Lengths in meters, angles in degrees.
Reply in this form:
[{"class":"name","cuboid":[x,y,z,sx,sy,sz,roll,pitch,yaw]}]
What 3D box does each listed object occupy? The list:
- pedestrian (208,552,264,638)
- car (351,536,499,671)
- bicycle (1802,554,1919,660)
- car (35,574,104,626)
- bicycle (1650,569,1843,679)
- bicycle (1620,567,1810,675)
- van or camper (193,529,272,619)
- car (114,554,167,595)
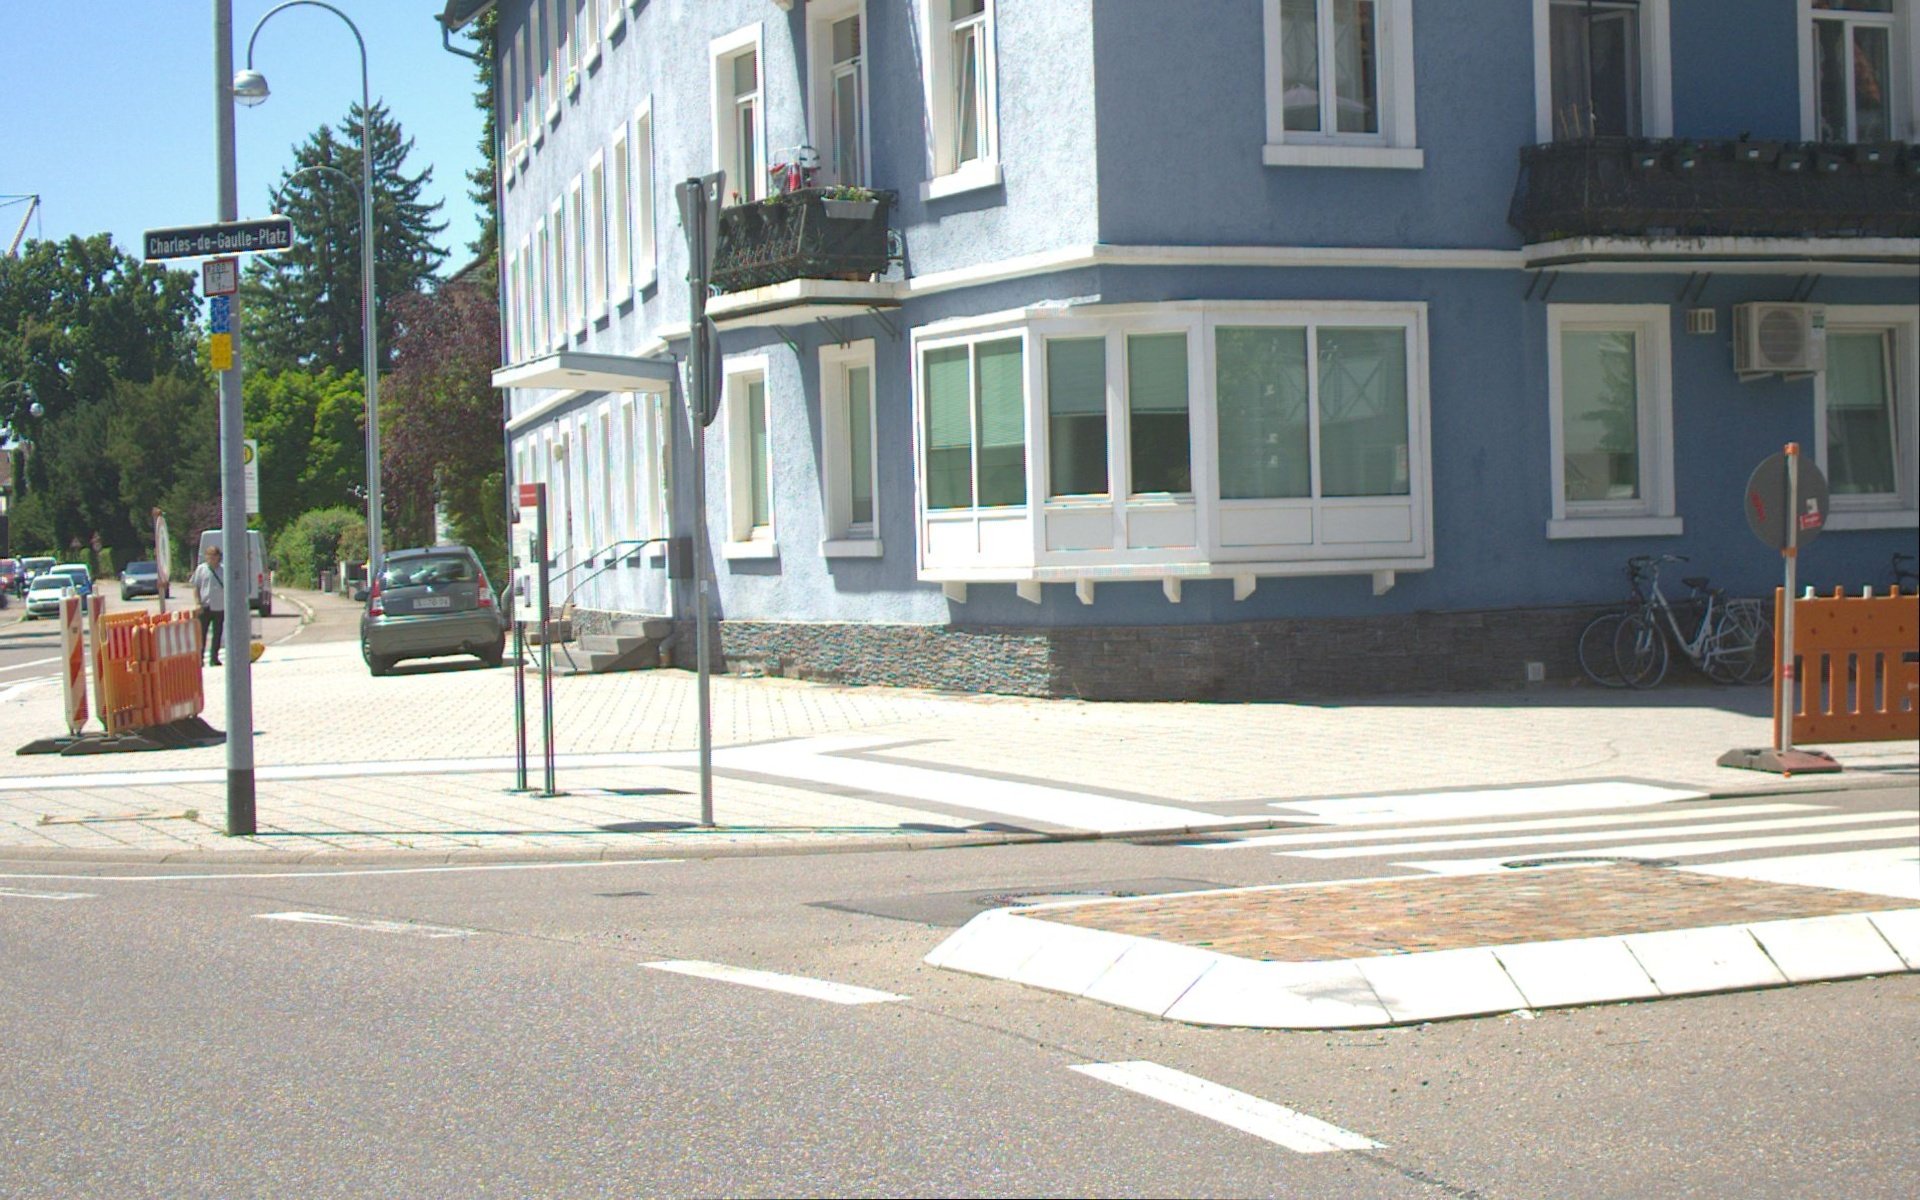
[{"class":"pedestrian","cuboid":[-11.217,-0.080,53.251,0.666,1.281,0.587,-5,2,-3]},{"class":"car","cuboid":[-6.764,0.007,43.278,1.639,1.502,3.565,-4,2,-10]},{"class":"bicycle","cuboid":[8.456,0.052,31.054,1.707,0.903,0.481,-1,3,-24]},{"class":"car","cuboid":[-29.507,-0.023,114.044,1.993,1.645,4.001,-1,1,-12]},{"class":"bicycle","cuboid":[6.870,0.200,29.998,1.707,0.903,0.440,-1,3,-24]},{"class":"bicycle","cuboid":[6.685,0.179,30.426,1.707,0.903,0.440,-1,3,-24]},{"class":"van or camper","cuboid":[-21.654,-0.775,102.287,2.205,2.602,4.001,-1,1,-12]},{"class":"car","cuboid":[-35.080,-1.084,147.206,1.993,1.711,4.001,-1,1,-11]}]
